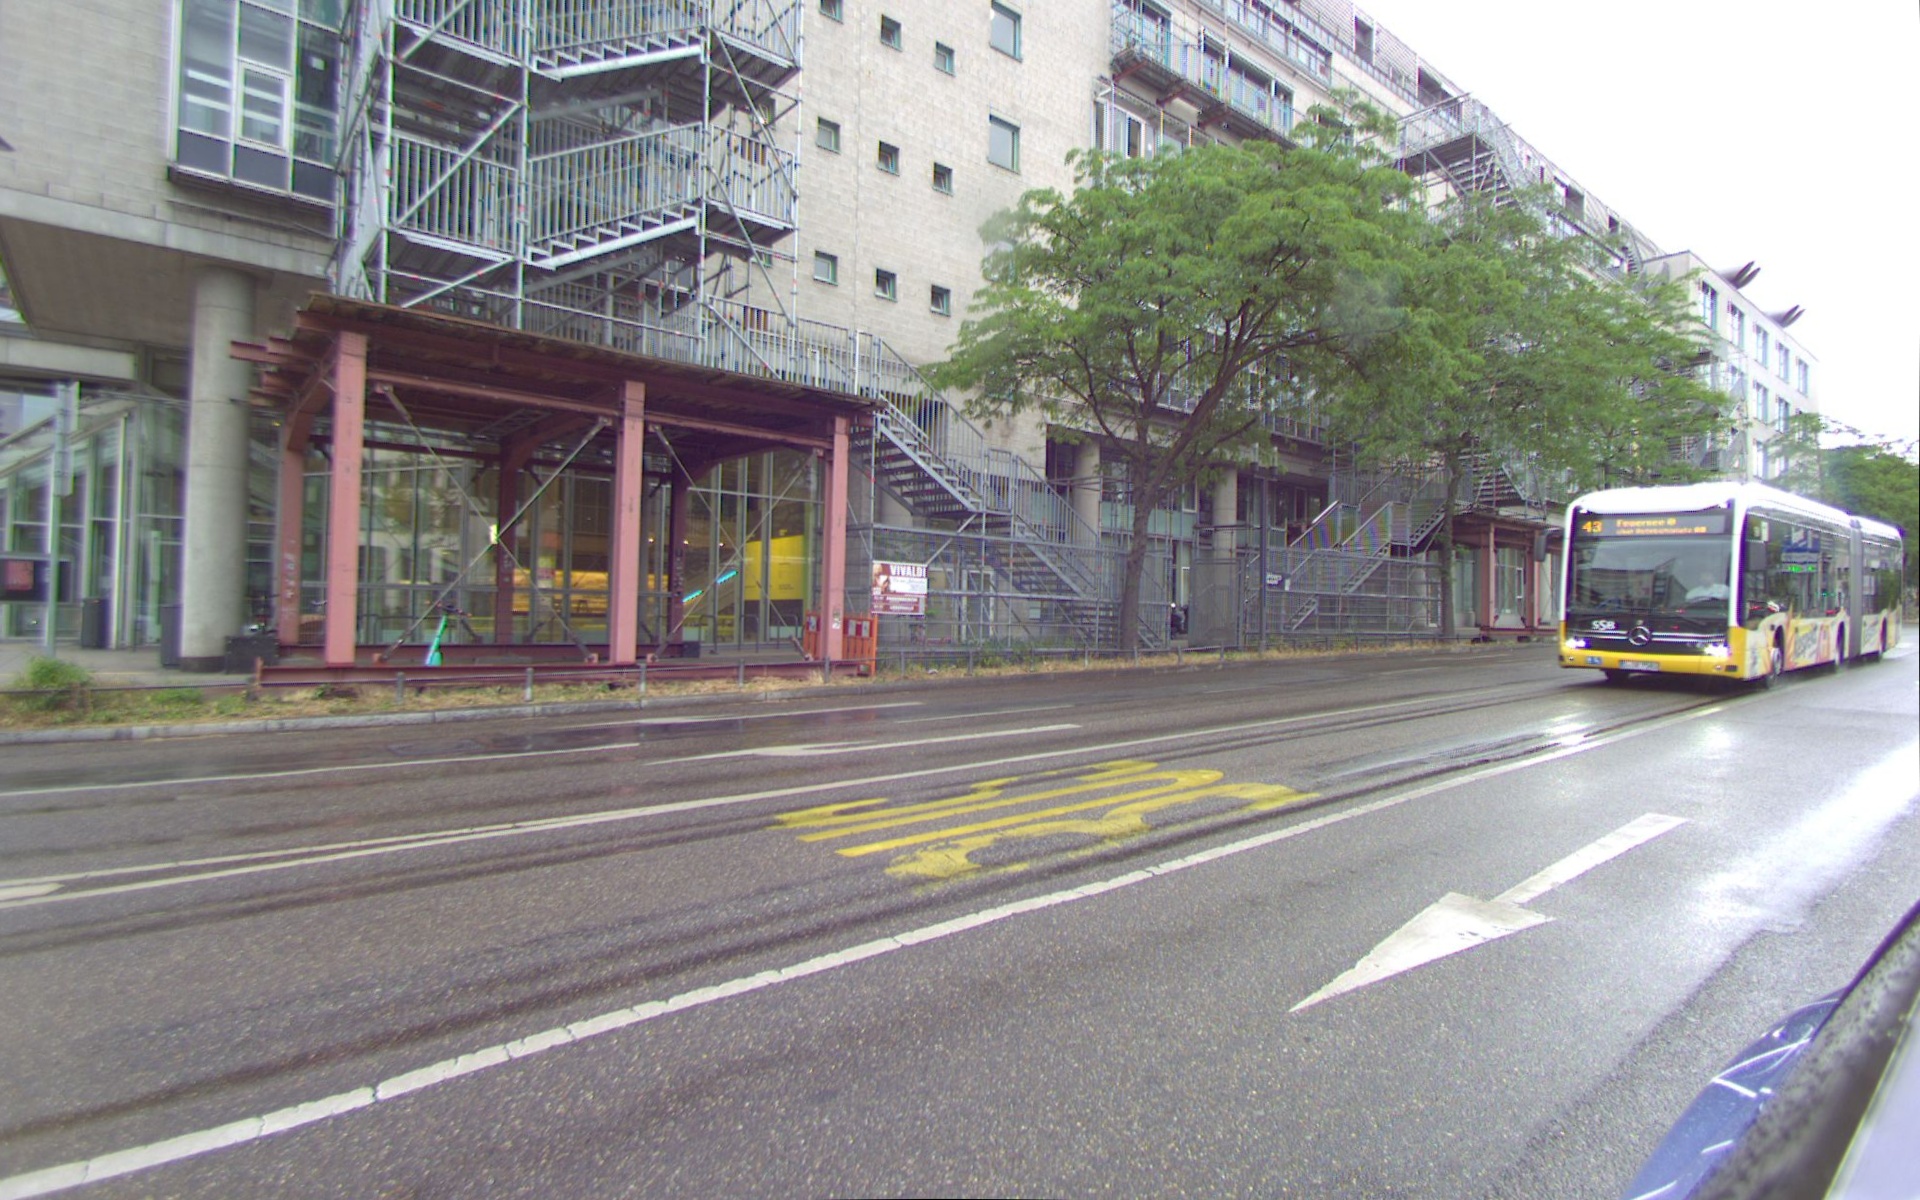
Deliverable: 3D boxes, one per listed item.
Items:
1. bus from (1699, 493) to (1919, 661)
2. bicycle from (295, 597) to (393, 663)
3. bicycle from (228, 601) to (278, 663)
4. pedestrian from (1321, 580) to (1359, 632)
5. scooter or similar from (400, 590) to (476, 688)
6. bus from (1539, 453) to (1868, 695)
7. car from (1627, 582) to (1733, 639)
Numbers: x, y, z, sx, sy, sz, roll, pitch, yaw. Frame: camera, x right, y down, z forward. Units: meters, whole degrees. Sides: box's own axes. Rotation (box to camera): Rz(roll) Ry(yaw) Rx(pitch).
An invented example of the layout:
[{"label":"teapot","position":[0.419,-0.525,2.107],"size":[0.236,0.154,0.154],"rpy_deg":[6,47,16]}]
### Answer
[{"label":"bus","position":[21.396,-0.531,25.100],"size":[9.541,3.483,2.888],"rpy_deg":[-1,0,-41]},{"label":"bicycle","position":[-11.987,0.556,19.742],"size":[0.580,1.209,1.602],"rpy_deg":[0,0,24]},{"label":"bicycle","position":[-14.463,0.629,20.686],"size":[0.577,1.209,1.611],"rpy_deg":[0,0,-44]},{"label":"pedestrian","position":[13.418,0.208,35.727],"size":[0.832,1.822,1.007],"rpy_deg":[0,0,-45]},{"label":"scooter or similar","position":[-6.939,0.475,13.418],"size":[0.576,1.209,1.782],"rpy_deg":[1,0,-38]},{"label":"bus","position":[14.163,-0.430,18.827],"size":[9.586,3.494,2.888],"rpy_deg":[-1,0,-41]},{"label":"car","position":[26.065,0.323,36.595],"size":[4.254,1.930,2.211],"rpy_deg":[-1,0,-41]}]
